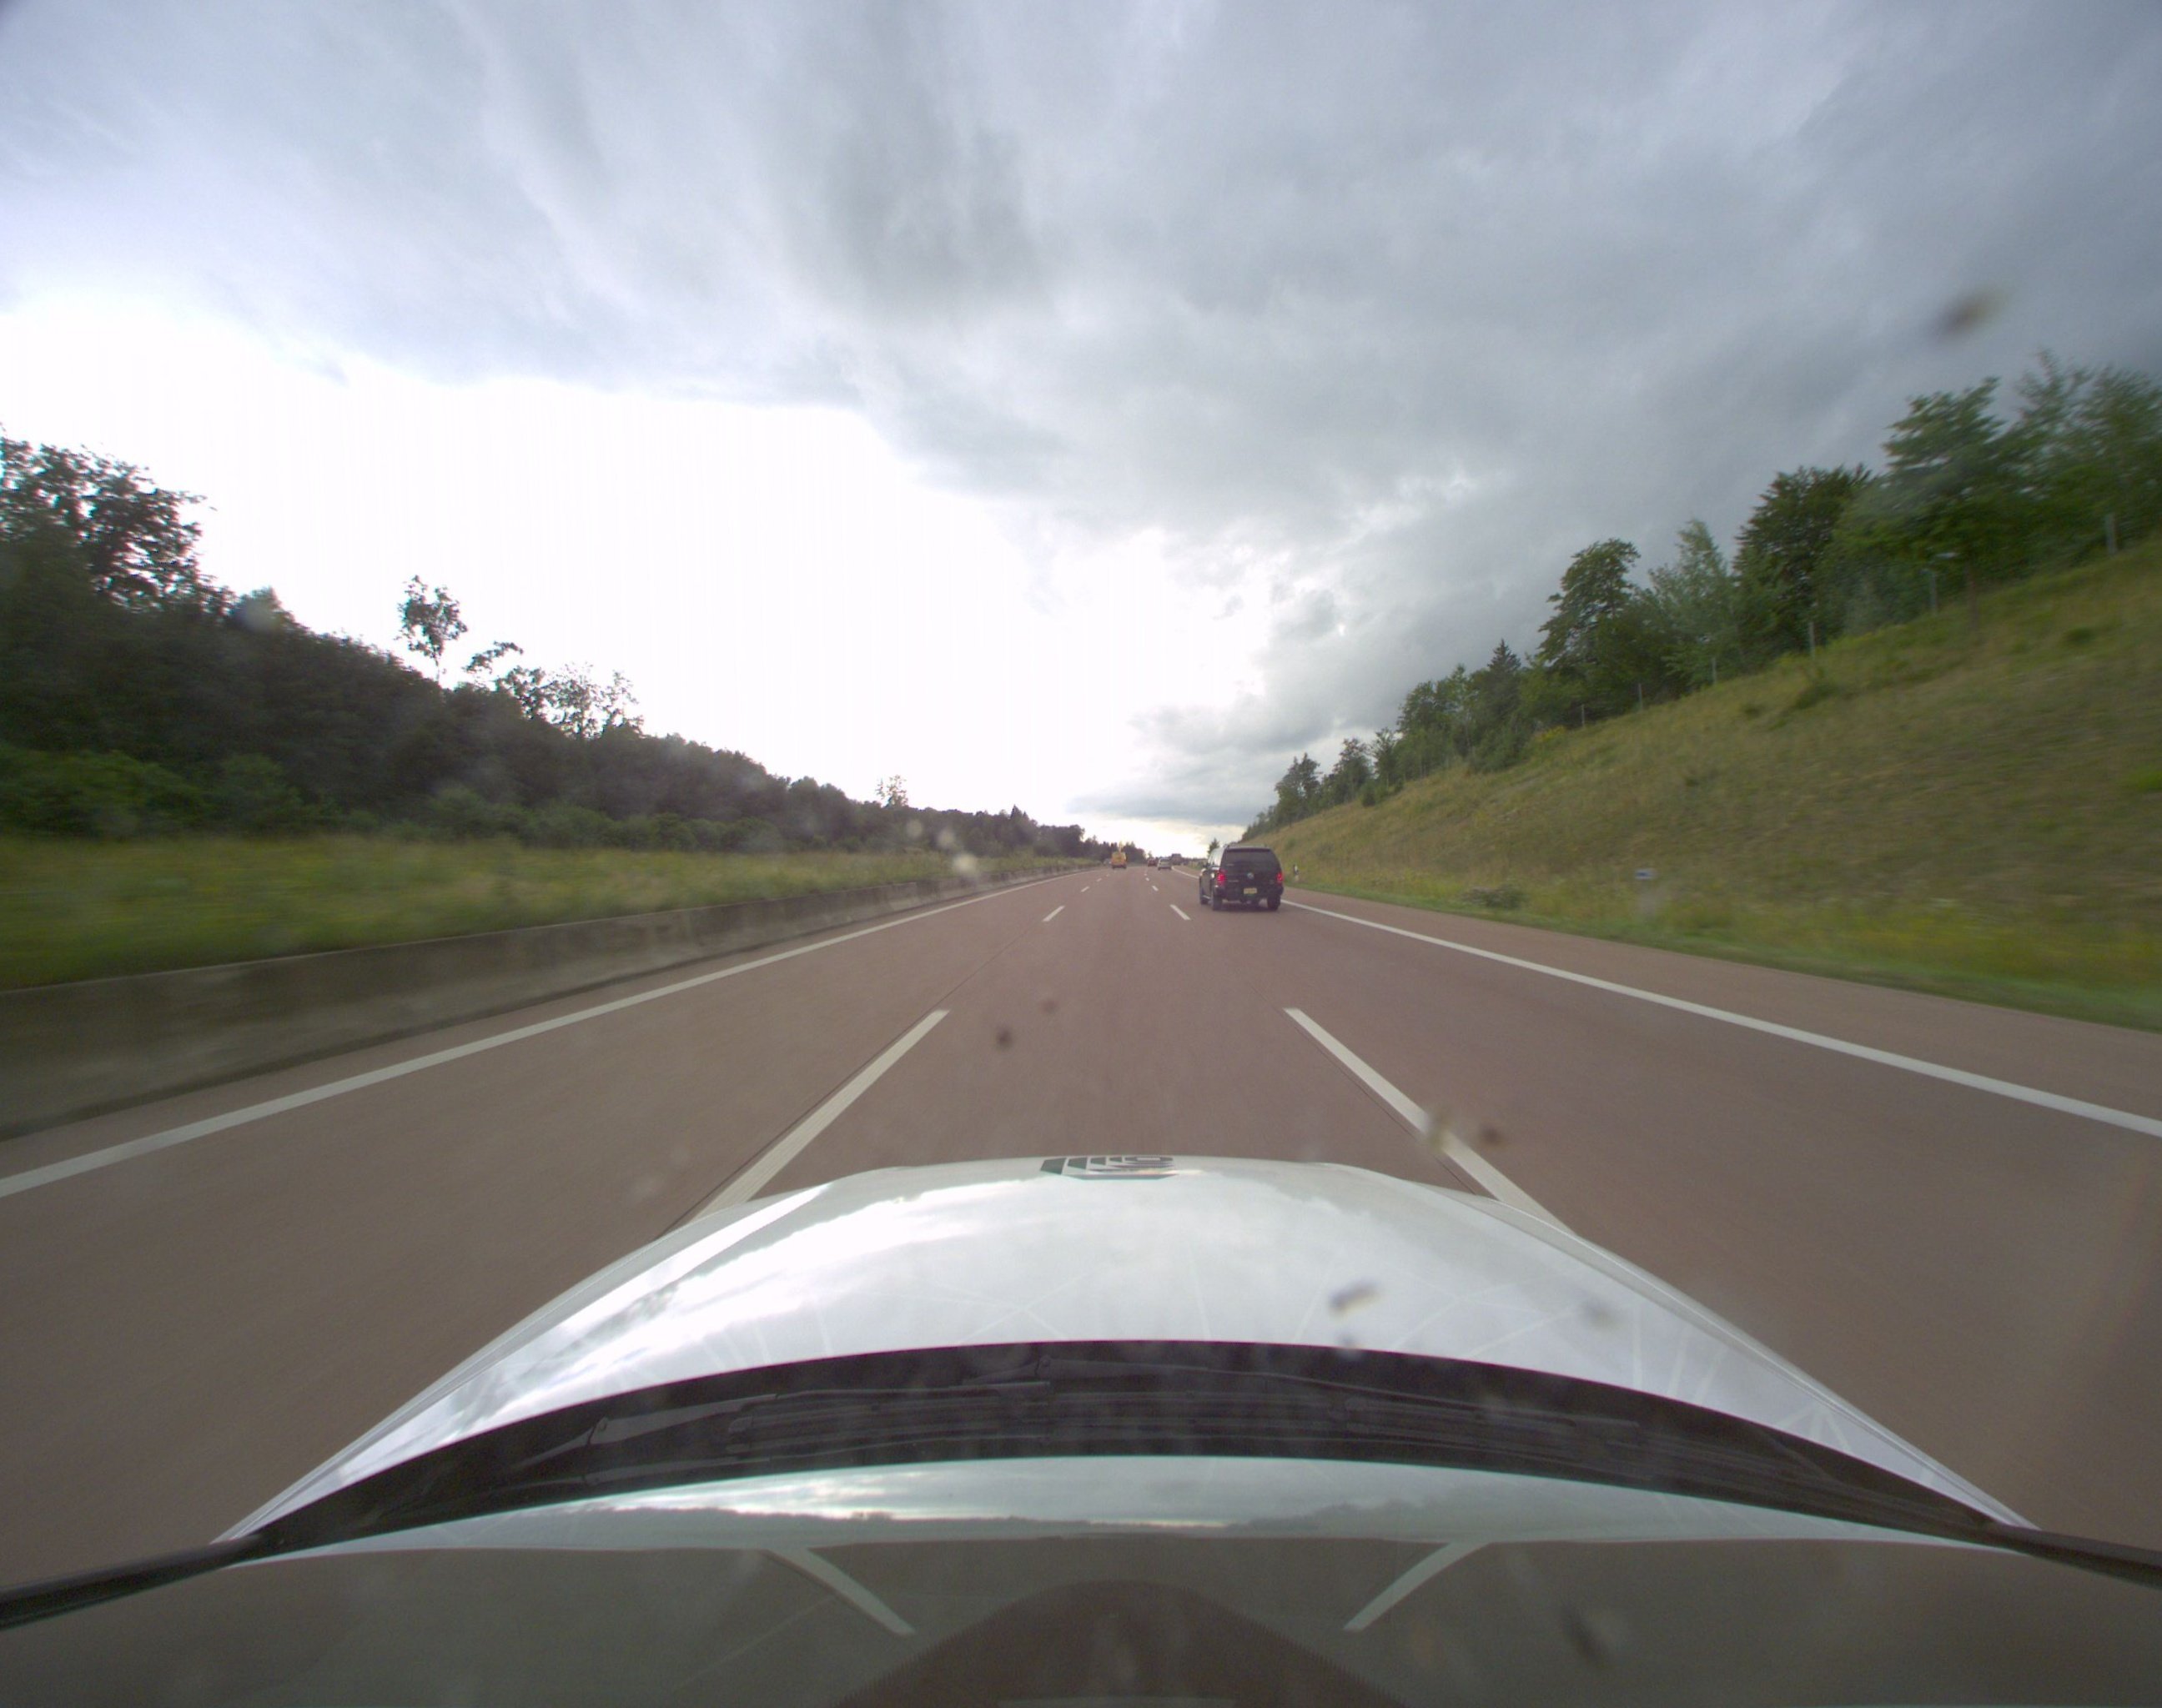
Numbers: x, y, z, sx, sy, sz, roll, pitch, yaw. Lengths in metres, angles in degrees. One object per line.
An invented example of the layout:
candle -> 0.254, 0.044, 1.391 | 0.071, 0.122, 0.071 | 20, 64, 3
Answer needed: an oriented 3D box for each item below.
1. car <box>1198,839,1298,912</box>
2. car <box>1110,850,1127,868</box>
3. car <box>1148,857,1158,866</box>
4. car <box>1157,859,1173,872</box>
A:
car -> 4.823, 0.624, 24.404 | 2.036, 1.897, 5.580 | -2, -1, 2
car -> 5.980, 0.808, 128.449 | 2.447, 2.706, 5.620 | -2, -1, 4
car -> 15.792, 1.617, 178.496 | 1.878, 1.764, 4.790 | -2, -1, 6
car -> 11.054, 1.522, 107.000 | 1.967, 1.648, 4.628 | 0, -1, 7
